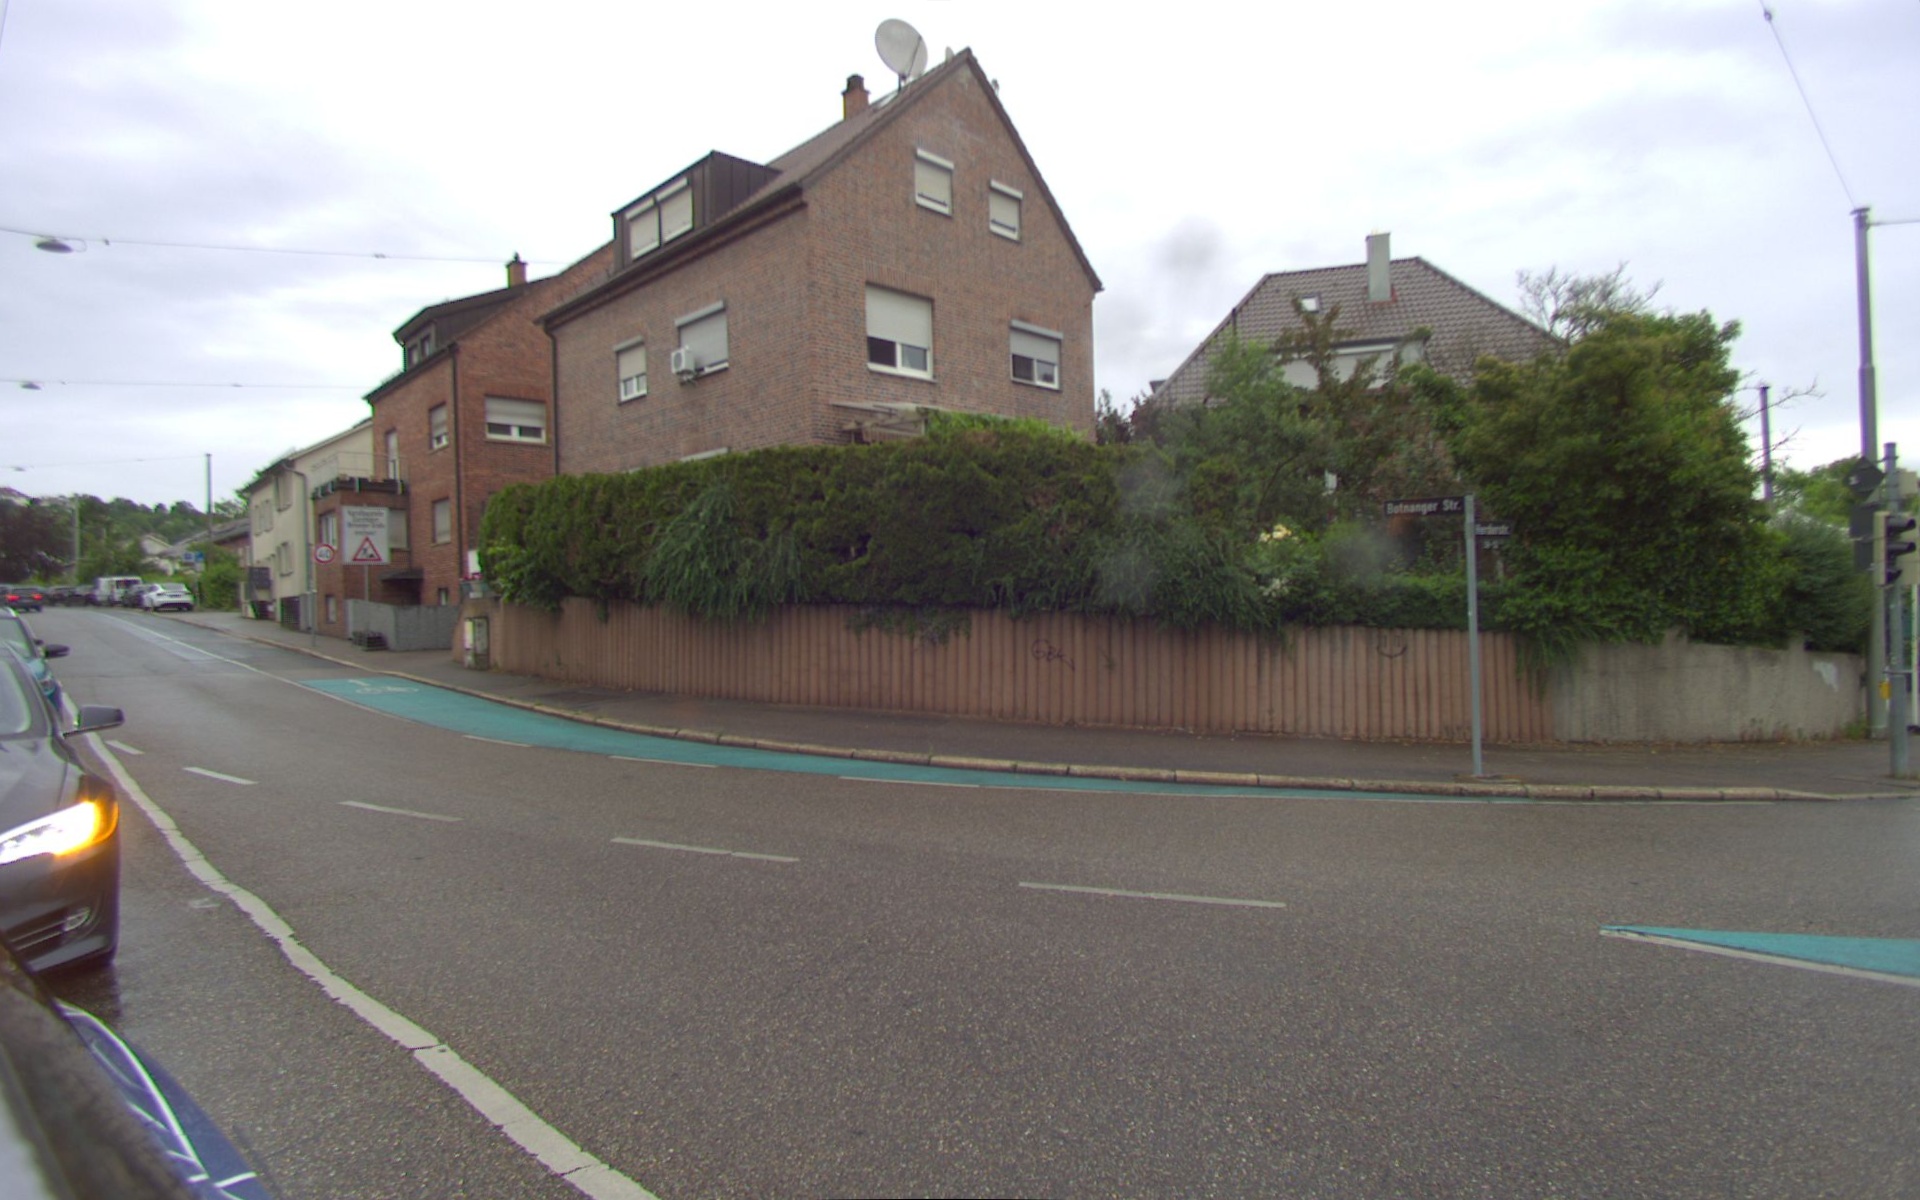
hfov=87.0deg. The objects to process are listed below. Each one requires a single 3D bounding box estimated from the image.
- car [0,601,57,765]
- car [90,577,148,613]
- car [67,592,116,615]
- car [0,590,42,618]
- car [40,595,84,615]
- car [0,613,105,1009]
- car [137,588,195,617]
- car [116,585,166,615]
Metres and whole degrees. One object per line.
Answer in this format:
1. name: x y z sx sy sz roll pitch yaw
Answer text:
1. car: -11.031 0.811 10.869 3.785 1.601 1.765 0 0 45
2. car: -57.023 -0.320 68.583 4.544 2.303 2.229 0 2 41
3. car: -61.474 0.251 71.603 4.002 1.501 1.636 -1 2 34
4. car: -61.068 0.231 65.524 4.169 1.693 1.830 1 -1 40
5. car: -66.457 0.346 74.899 3.854 1.407 1.635 -1 2 36
6. car: -5.402 0.801 4.704 4.002 1.426 1.845 0 0 45
7. car: -46.427 0.162 59.133 4.262 1.577 1.921 0 2 42
8. car: -52.376 -0.010 64.726 4.262 1.817 1.791 0 2 42
